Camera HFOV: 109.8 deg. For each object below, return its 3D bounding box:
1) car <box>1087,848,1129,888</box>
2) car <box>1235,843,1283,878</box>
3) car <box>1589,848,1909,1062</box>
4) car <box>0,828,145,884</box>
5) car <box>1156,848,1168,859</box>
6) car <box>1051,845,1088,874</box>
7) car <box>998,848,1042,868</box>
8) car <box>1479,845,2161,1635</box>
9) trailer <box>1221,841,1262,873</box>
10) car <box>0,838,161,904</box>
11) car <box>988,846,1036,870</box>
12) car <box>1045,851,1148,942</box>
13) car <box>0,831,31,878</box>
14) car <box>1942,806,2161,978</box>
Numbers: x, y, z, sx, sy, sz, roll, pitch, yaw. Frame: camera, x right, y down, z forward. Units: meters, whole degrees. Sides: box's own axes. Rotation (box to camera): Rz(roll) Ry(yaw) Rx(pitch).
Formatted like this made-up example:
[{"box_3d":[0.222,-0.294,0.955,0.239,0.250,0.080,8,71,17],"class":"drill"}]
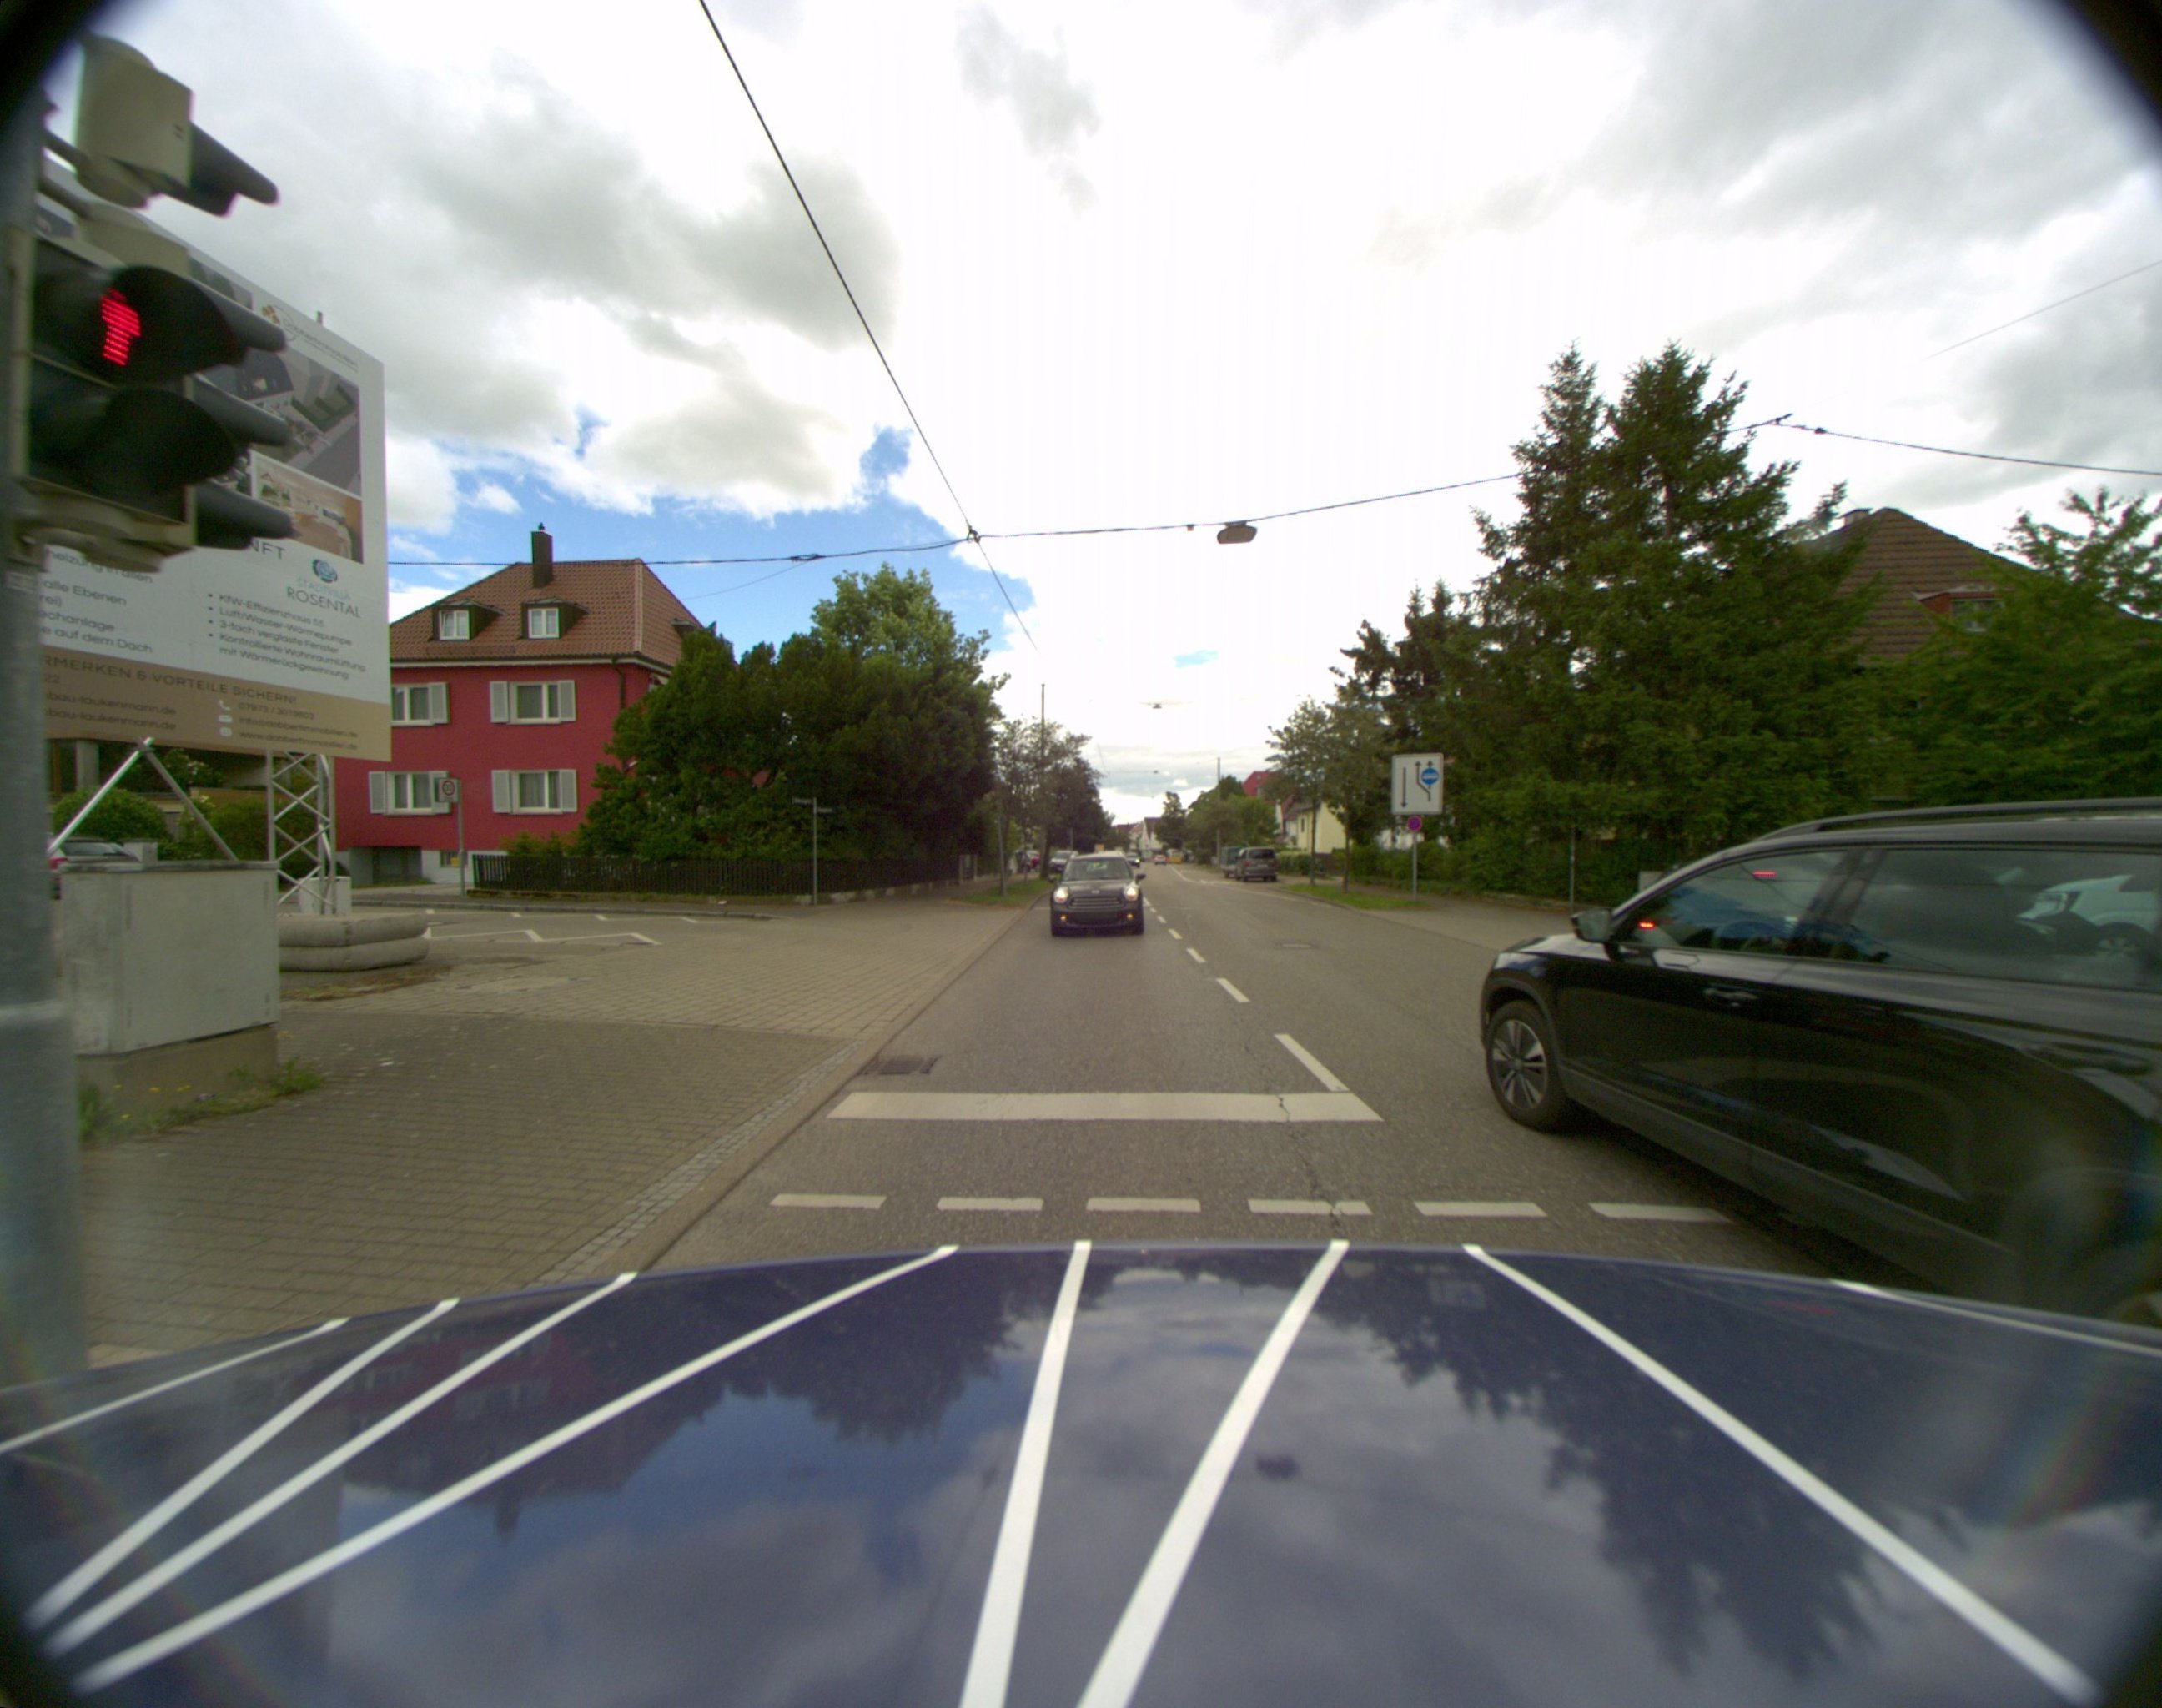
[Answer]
[{"box_3d":[1.220,0.559,32.679,1.589,1.598,3.686,0,0,6],"class":"car"},{"box_3d":[10.358,0.361,44.517,1.998,1.938,4.899,0,0,5],"class":"car"},{"box_3d":[6.989,0.746,8.119,1.994,1.611,4.658,1,1,41],"class":"car"},{"box_3d":[-30.224,0.070,22.068,1.621,1.531,3.502,-2,1,3],"class":"car"},{"box_3d":[13.115,-0.082,122.237,1.824,1.594,4.301,2,1,7],"class":"car"},{"box_3d":[-0.726,0.325,51.339,1.902,1.826,4.917,1,0,6],"class":"car"},{"box_3d":[-4.765,0.307,59.895,3.361,1.451,1.749,1,1,-2],"class":"car"},{"box_3d":[3.217,0.812,2.391,1.900,1.615,4.000,2,0,2],"class":"car"},{"box_3d":[10.804,0.193,51.531,2.159,2.076,4.427,0,0,4],"class":"trailer"},{"box_3d":[-24.567,0.352,17.714,4.229,1.416,1.761,2,0,3],"class":"car"},{"box_3d":[-5.165,0.275,56.855,3.360,1.624,1.580,3,1,0],"class":"car"},{"box_3d":[0.443,0.759,15.483,1.743,1.573,3.686,-3,0,6],"class":"car"},{"box_3d":[-34.701,0.045,22.720,1.621,1.459,3.502,-2,1,3],"class":"car"},{"box_3d":[18.039,0.621,11.938,5.611,2.549,2.132,2,2,15],"class":"car"}]
